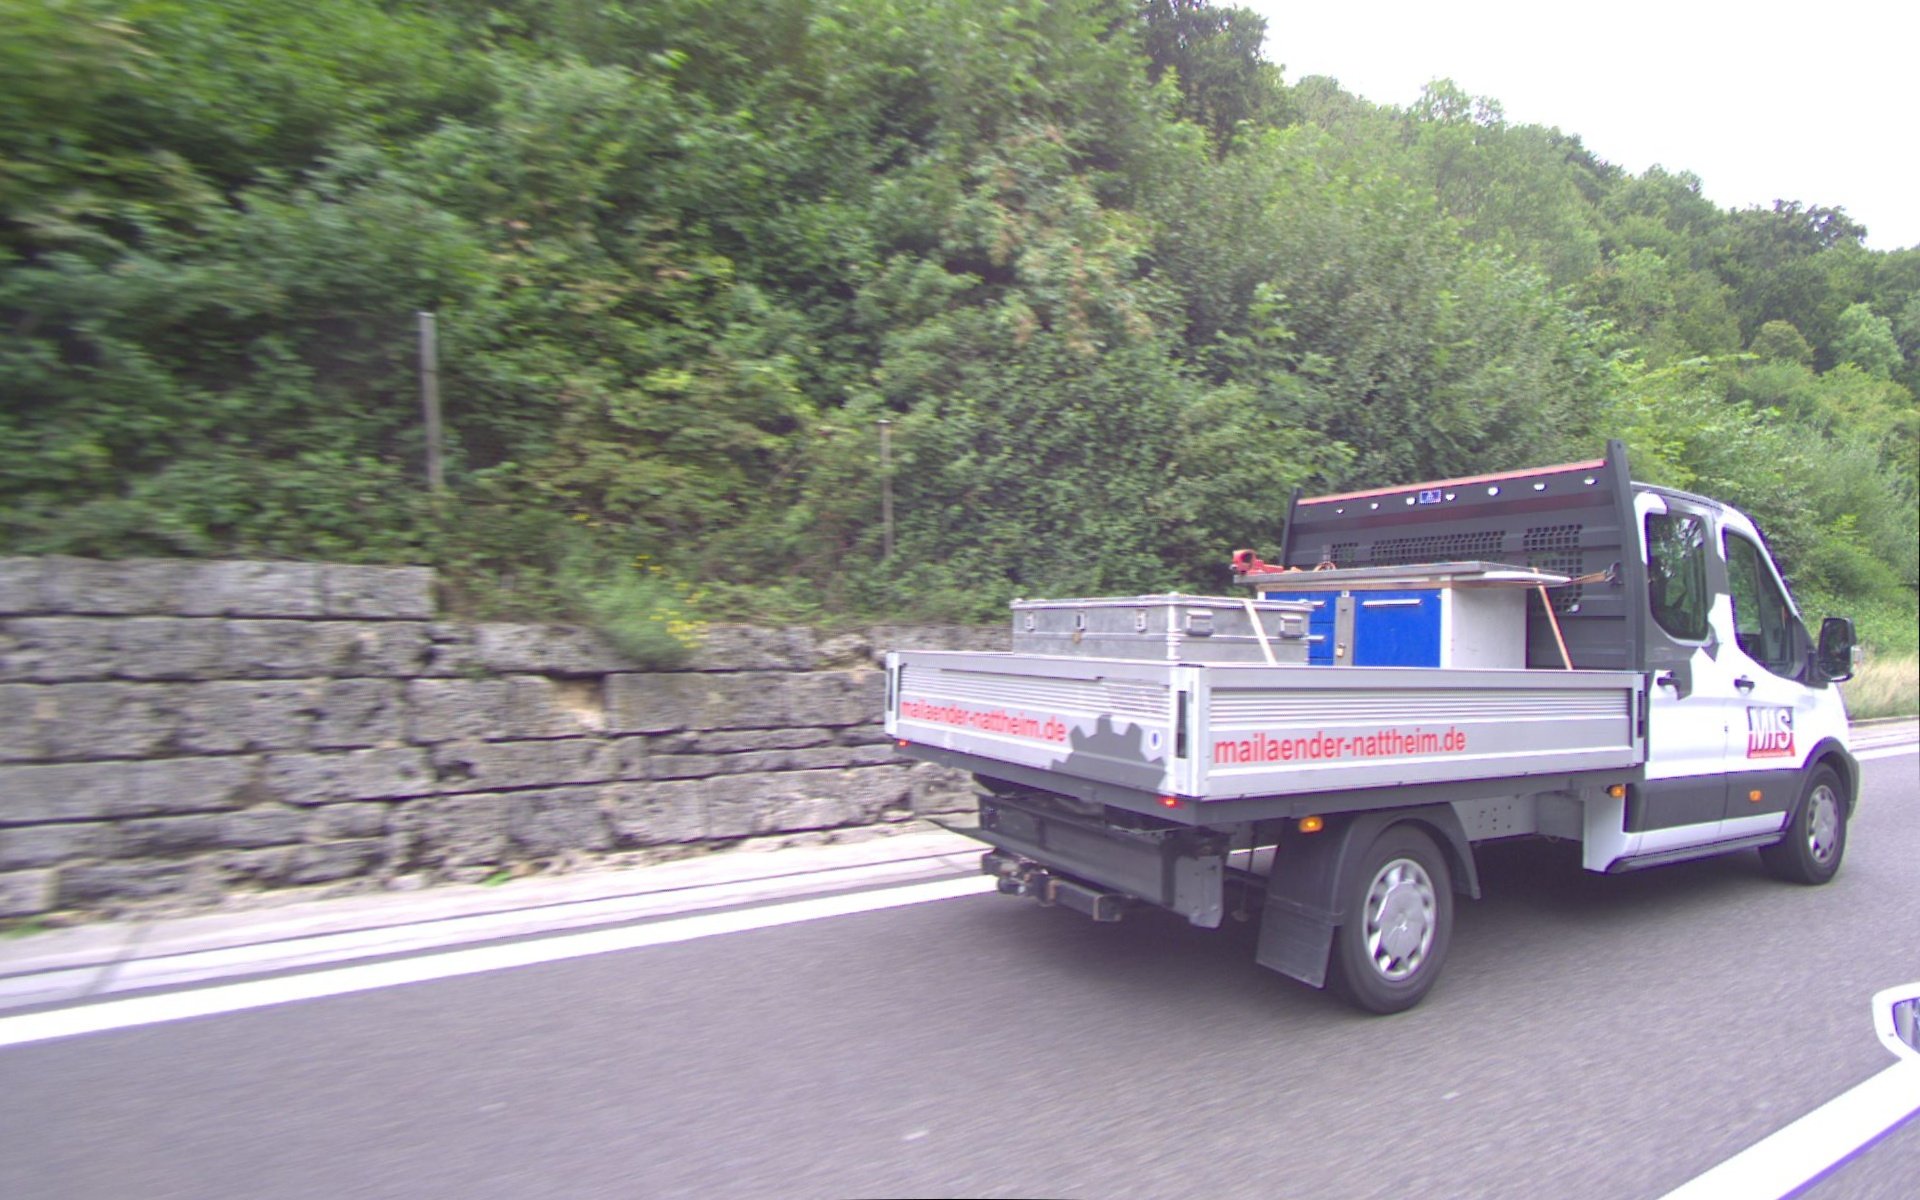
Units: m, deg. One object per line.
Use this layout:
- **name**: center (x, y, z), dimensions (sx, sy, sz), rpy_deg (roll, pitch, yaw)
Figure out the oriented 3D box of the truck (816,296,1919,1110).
- **truck**: center (2.798, 0.413, 5.650), dimensions (6.773, 2.304, 2.337), rpy_deg (2, -2, -32)
